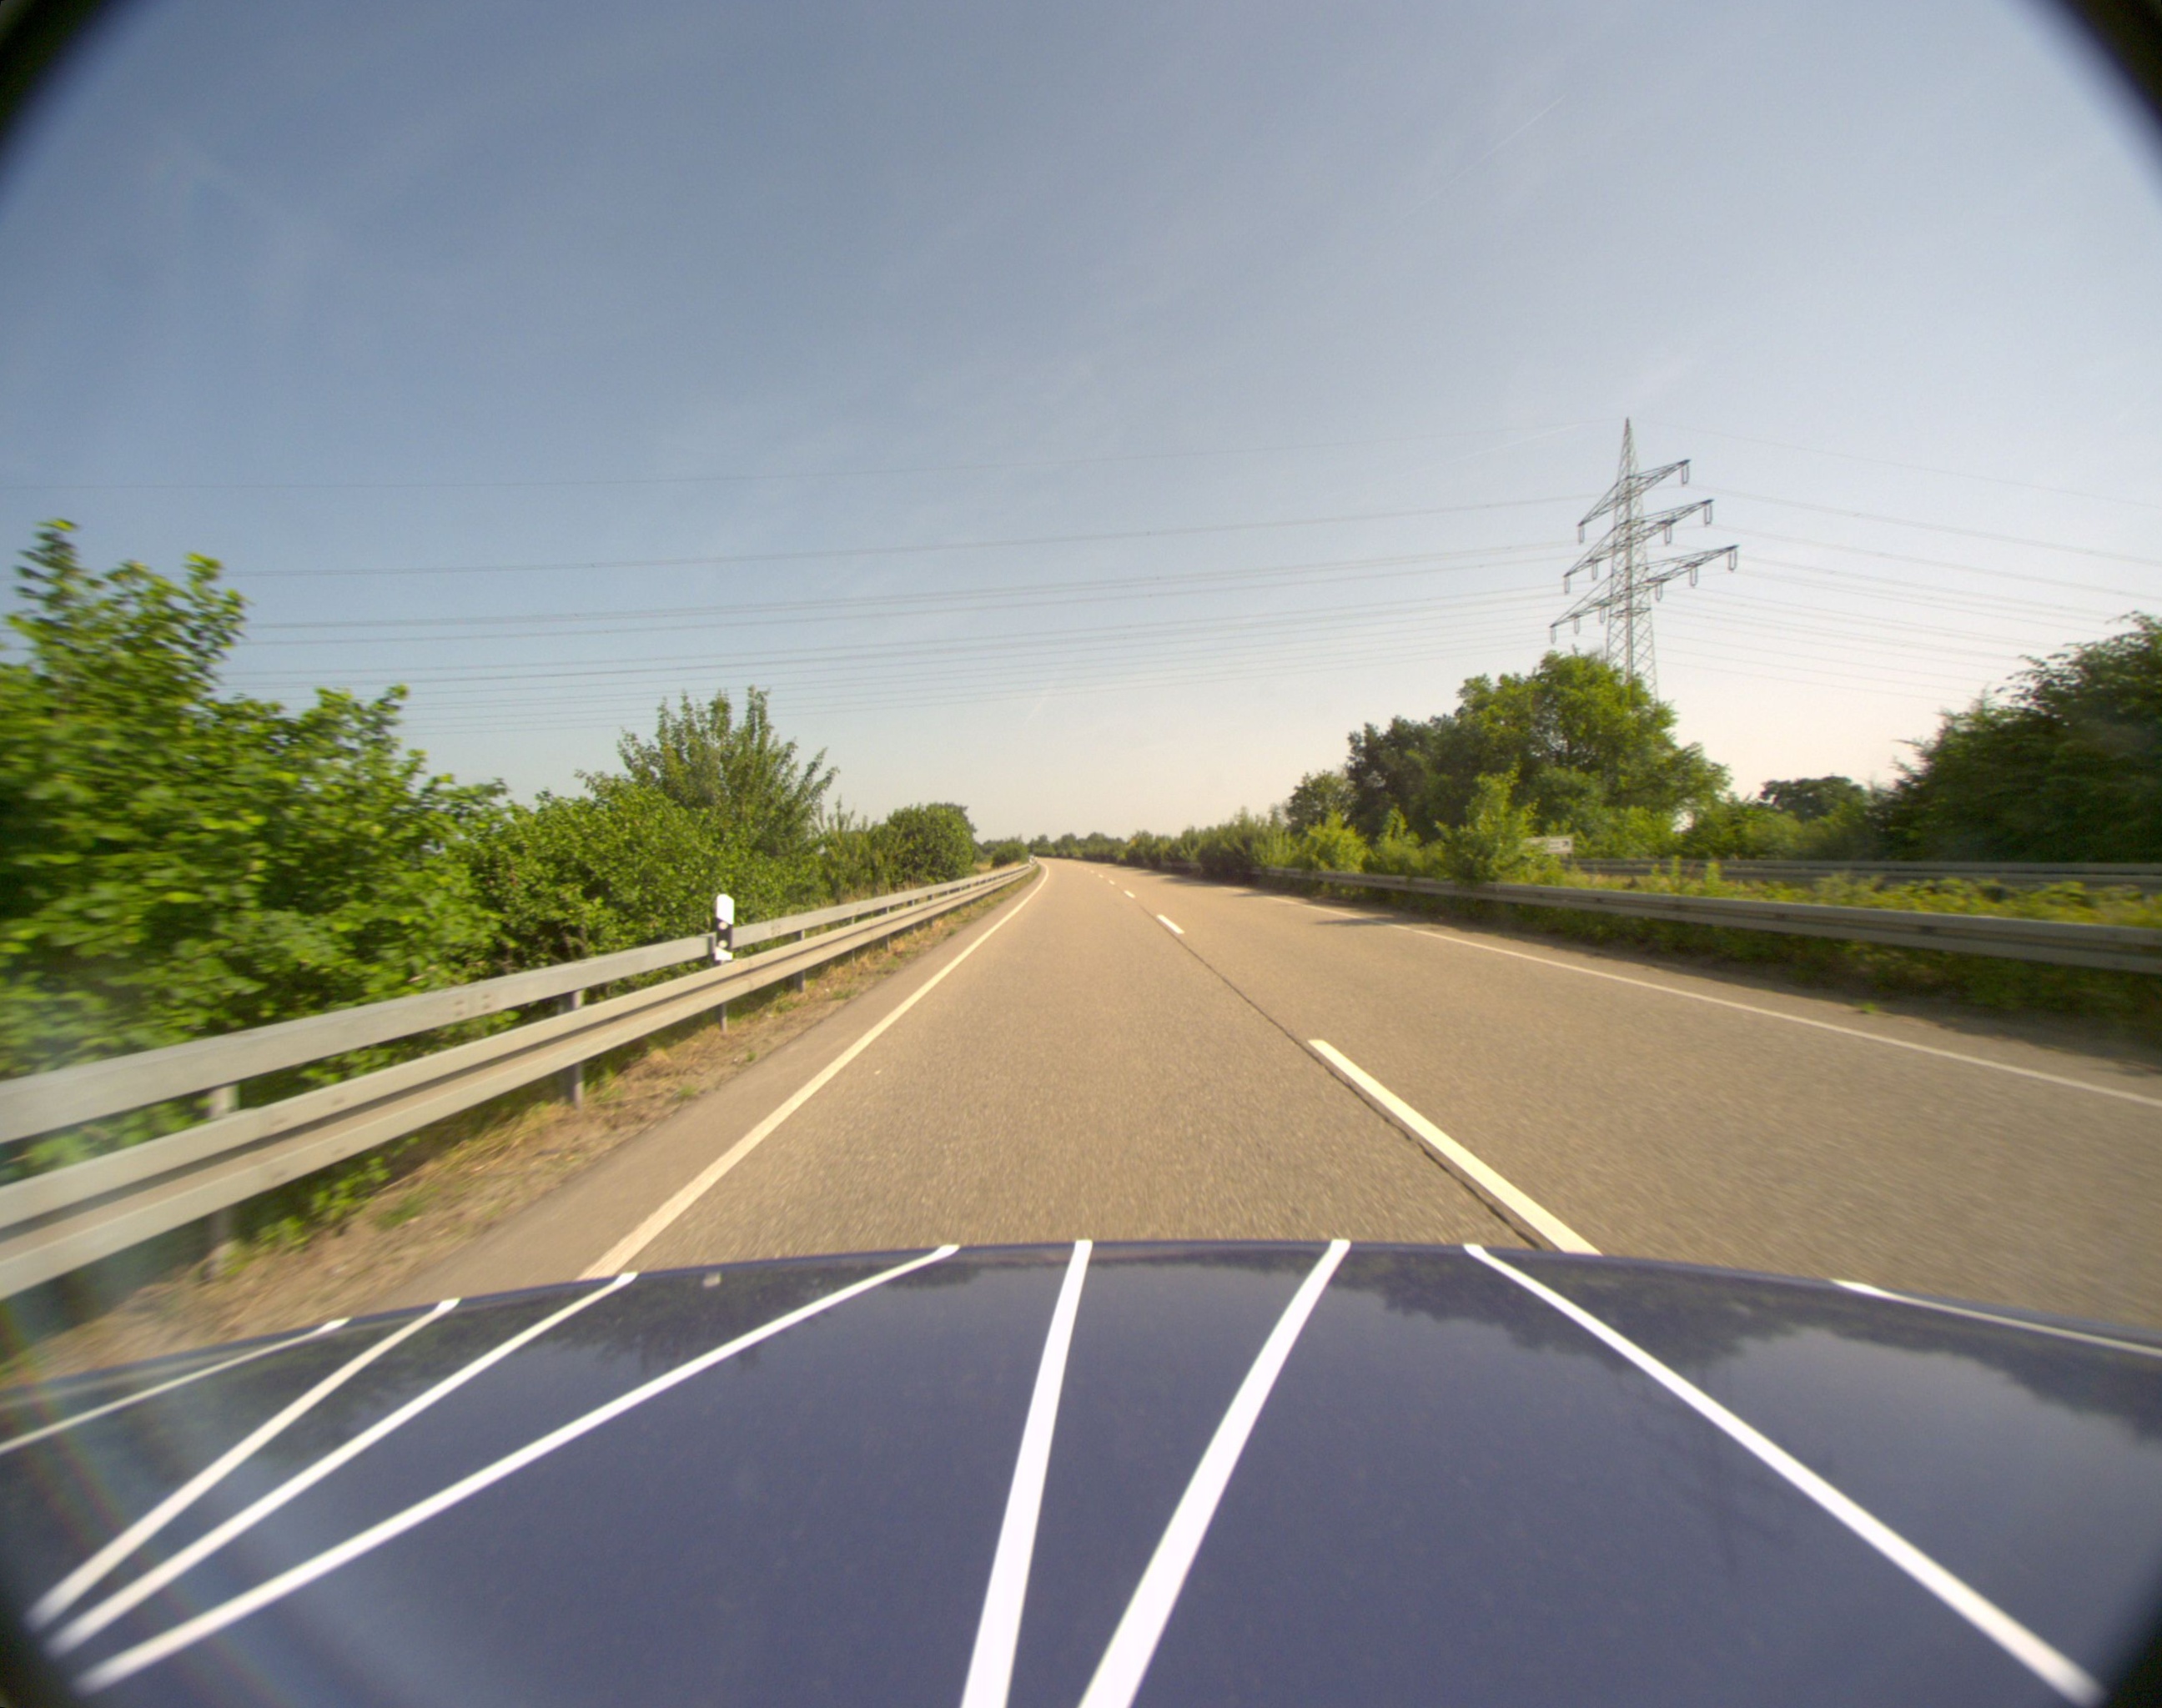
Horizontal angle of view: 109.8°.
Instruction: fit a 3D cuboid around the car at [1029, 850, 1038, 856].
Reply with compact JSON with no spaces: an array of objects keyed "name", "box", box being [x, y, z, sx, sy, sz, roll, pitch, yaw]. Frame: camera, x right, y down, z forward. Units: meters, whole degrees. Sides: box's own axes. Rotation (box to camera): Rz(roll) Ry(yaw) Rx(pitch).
[{"name":"car","box":[-13.564,-0.176,215.800,1.705,1.474,3.595,-3,0,-17]}]
